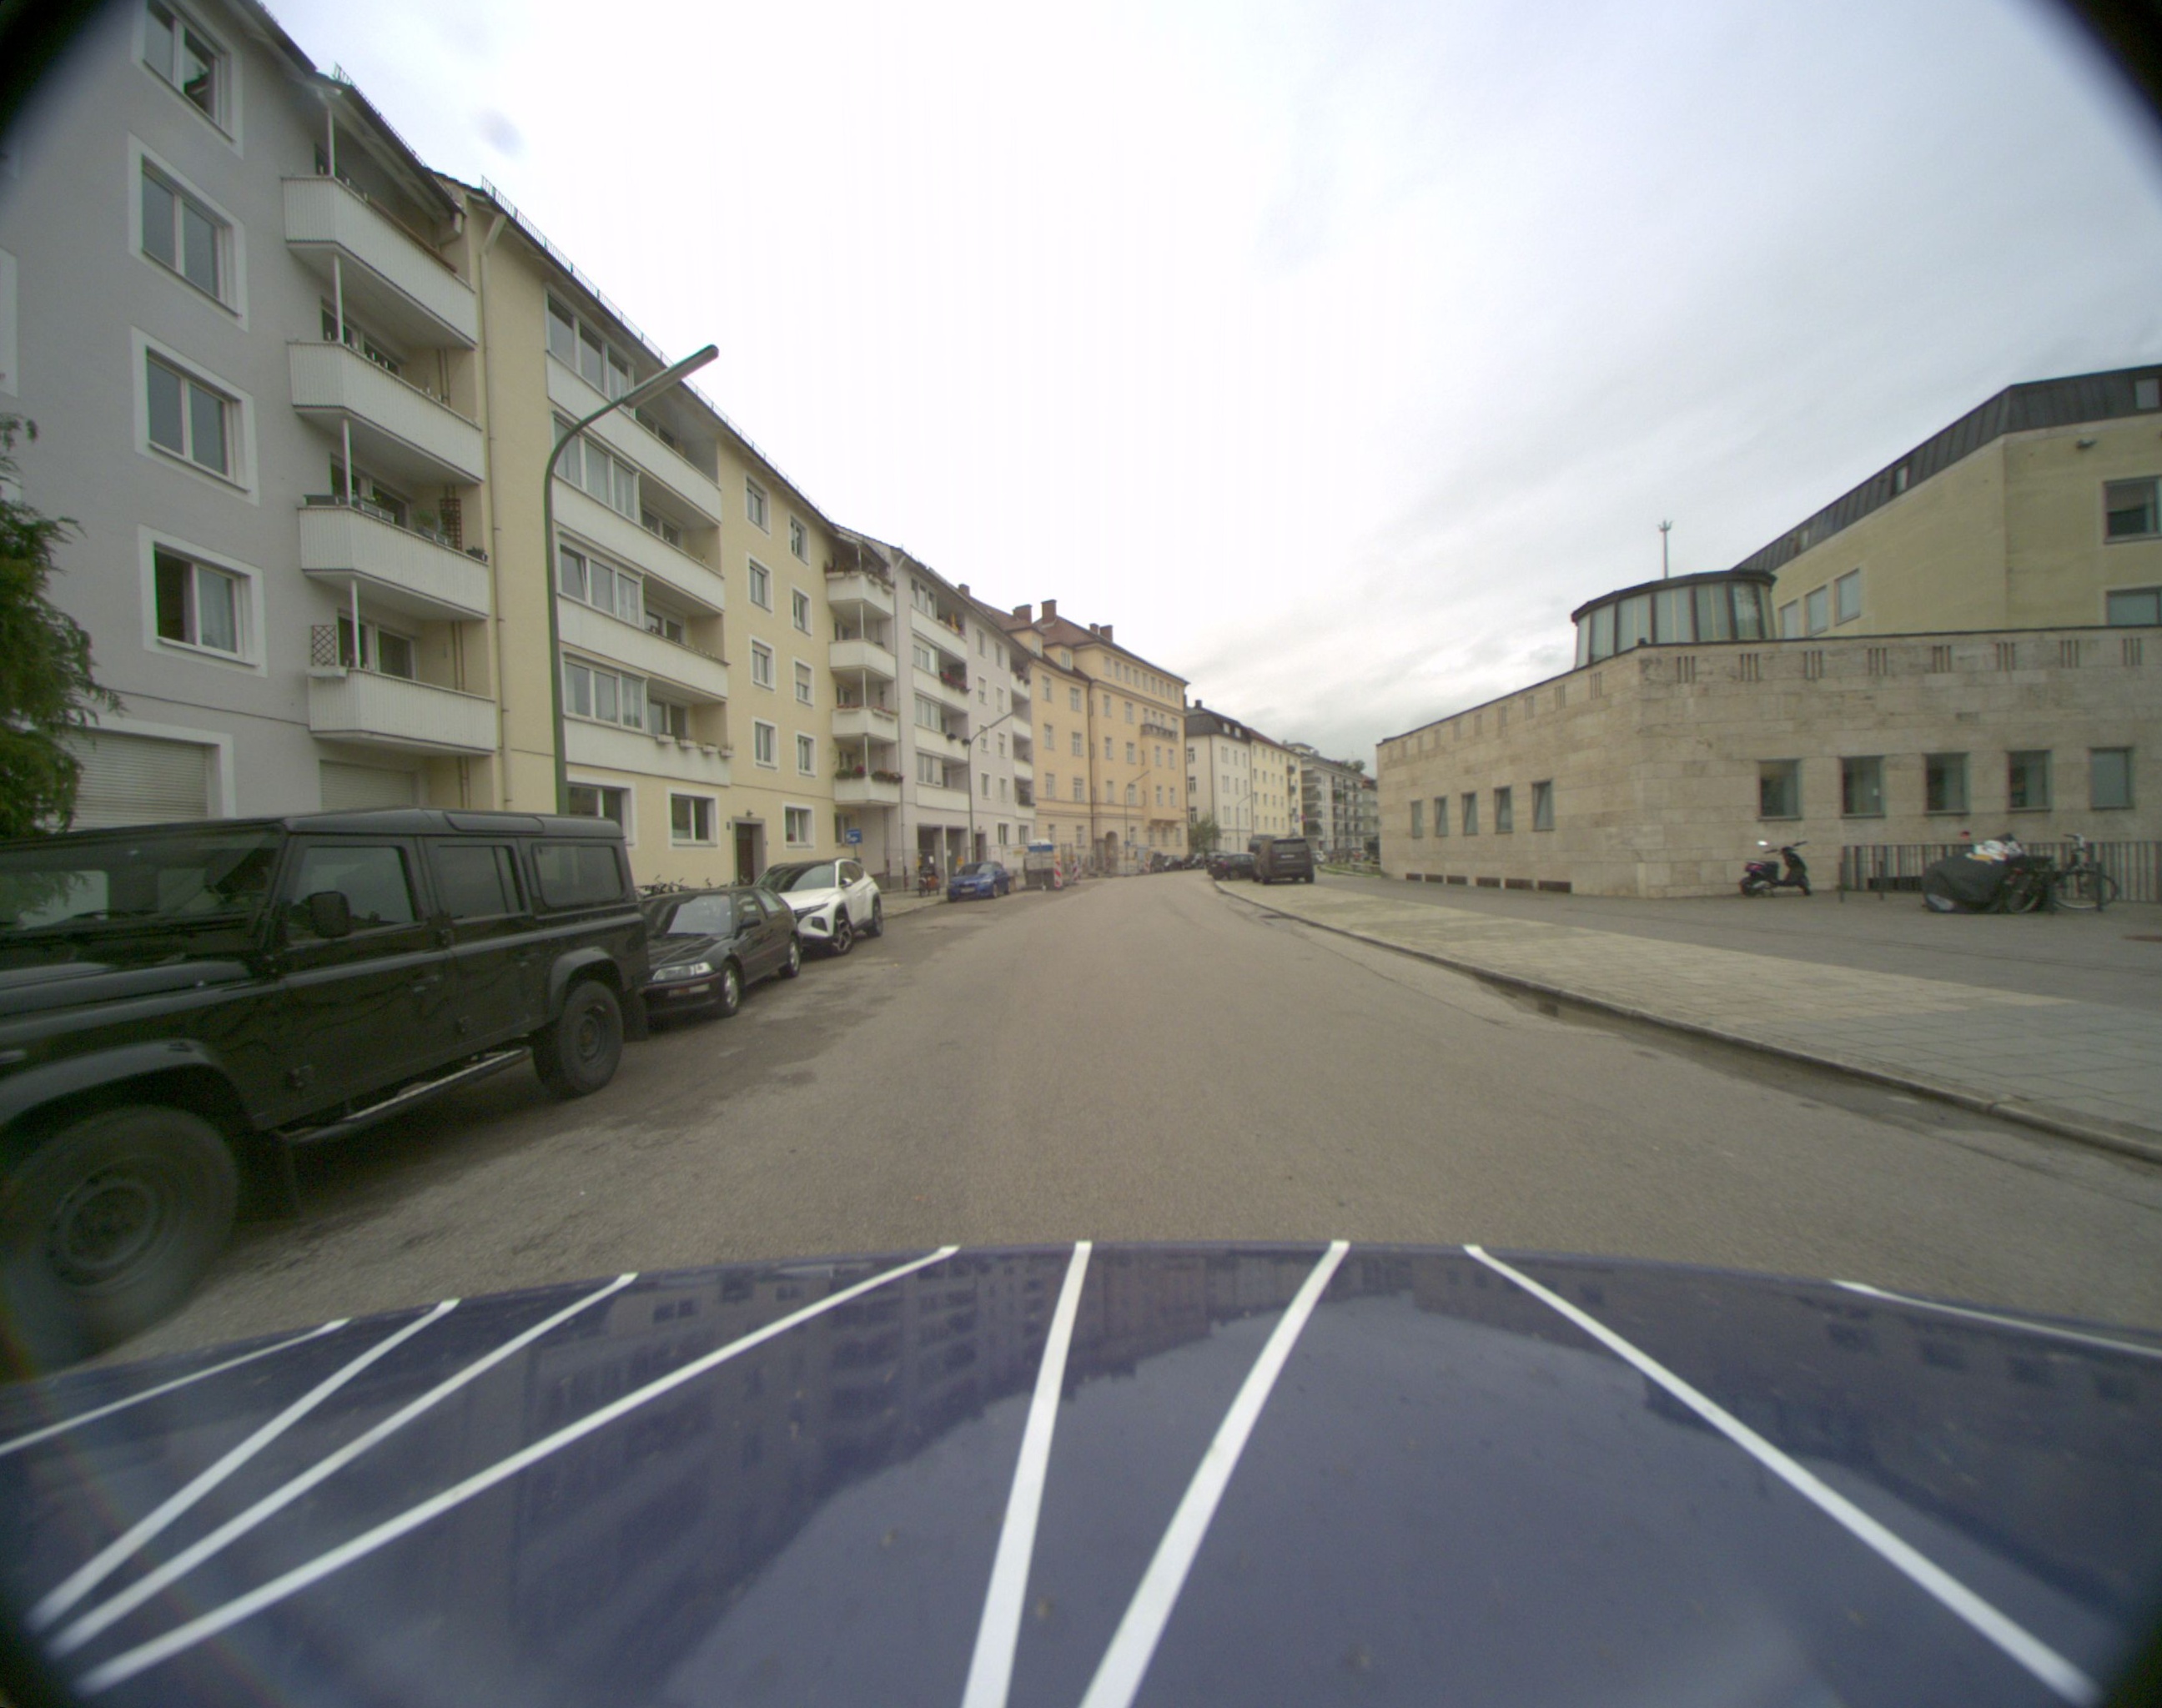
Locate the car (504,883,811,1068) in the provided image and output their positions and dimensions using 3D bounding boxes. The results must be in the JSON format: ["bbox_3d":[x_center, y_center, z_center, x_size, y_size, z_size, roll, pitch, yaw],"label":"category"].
[{"bbox_3d":[-4.460,1.160,8.726,1.663,1.341,3.801,-4,1,-7],"label":"car"}]

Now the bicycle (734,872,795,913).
[{"bbox_3d":[-9.785,1.182,23.498,1.703,1.214,0.433,-1,0,7],"label":"bicycle"}]

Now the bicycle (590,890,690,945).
[{"bbox_3d":[-9.570,1.364,16.531,1.831,1.151,0.578,0,1,0],"label":"bicycle"}]

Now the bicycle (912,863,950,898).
[{"bbox_3d":[-6.048,1.048,30.854,0.811,1.315,2.775,-1,1,4],"label":"bicycle"}]

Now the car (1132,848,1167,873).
[{"bbox_3d":[5.459,0.497,60.383,1.839,1.788,4.243,-4,0,16],"label":"car"}]

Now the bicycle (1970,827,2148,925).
[{"bbox_3d":[15.299,0.334,11.903,2.104,1.344,0.613,-4,0,-5],"label":"bicycle"}]

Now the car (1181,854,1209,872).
[{"bbox_3d":[10.693,0.824,71.085,1.509,1.547,2.868,-4,0,32],"label":"car"}]

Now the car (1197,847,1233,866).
[{"bbox_3d":[13.384,0.230,75.653,1.929,1.719,4.696,-4,-2,31],"label":"car"}]

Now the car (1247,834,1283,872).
[{"bbox_3d":[13.507,-0.106,55.646,2.146,2.559,6.219,-1,1,17],"label":"car"}]

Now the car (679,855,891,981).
[{"bbox_3d":[-4.823,0.948,13.247,2.032,1.668,4.611,-4,0,-4],"label":"car"}]

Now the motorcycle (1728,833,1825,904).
[{"bbox_3d":[14.985,0.309,16.394,1.568,1.397,0.515,-4,0,-2],"label":"motorcycle"}]

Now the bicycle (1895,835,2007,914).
[{"bbox_3d":[15.156,0.347,13.248,1.454,1.252,0.462,-4,0,-5],"label":"bicycle"}]

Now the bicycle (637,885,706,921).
[{"bbox_3d":[-10.272,1.228,19.084,1.472,0.852,0.444,1,0,-4],"label":"bicycle"}]

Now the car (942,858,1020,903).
[{"bbox_3d":[-3.748,0.949,29.331,1.834,1.433,4.630,-6,-1,6],"label":"car"}]

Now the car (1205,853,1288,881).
[{"bbox_3d":[8.789,0.650,40.357,4.011,1.365,1.746,0,2,-22],"label":"car"}]

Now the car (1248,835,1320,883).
[{"bbox_3d":[8.263,0.210,31.384,1.998,1.761,4.816,-2,0,5],"label":"car"}]

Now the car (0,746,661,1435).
[{"bbox_3d":[-4.252,0.775,3.910,1.752,2.069,4.515,-4,0,-3],"label":"car"}]

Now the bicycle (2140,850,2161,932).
[{"bbox_3d":[15.797,0.445,10.303,2.051,1.104,0.616,-4,0,-2],"label":"bicycle"}]

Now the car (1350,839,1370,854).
[{"bbox_3d":[38.987,-1.019,106.065,1.945,1.965,4.362,0,1,28],"label":"car"}]

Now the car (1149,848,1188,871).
[{"bbox_3d":[7.605,0.450,65.588,1.838,1.720,3.736,-4,0,31],"label":"car"}]
